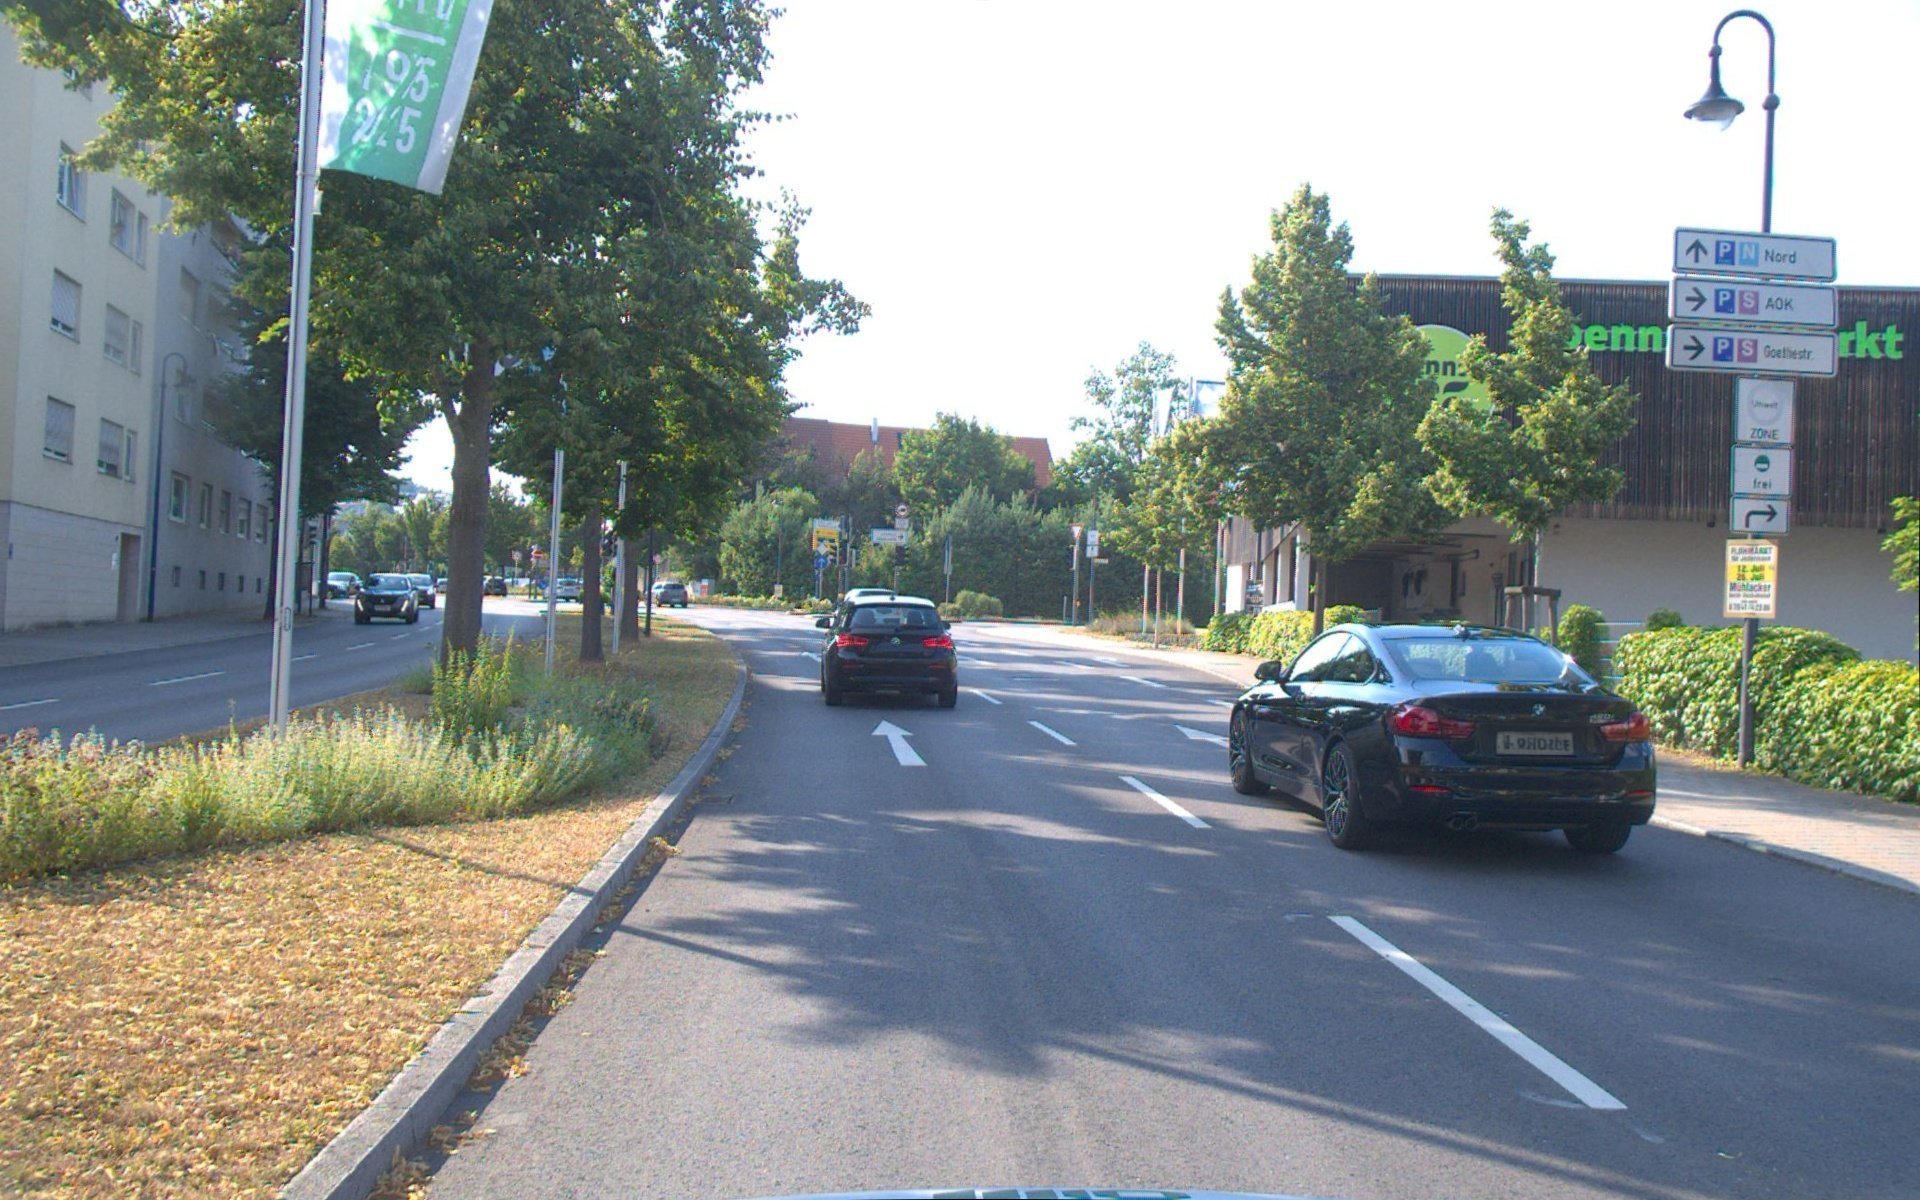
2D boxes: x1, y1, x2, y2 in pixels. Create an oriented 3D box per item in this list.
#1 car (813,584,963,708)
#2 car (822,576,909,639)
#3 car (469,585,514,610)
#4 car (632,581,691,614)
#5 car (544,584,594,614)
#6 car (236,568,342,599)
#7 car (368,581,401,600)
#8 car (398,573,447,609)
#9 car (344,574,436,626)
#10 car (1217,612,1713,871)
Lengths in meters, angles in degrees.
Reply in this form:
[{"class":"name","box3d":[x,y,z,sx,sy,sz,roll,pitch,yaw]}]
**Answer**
[{"class":"car","box3d":[-1.094,0.583,23.076,1.688,1.516,4.345,2,0,-8]},{"class":"car","box3d":[-2.926,0.210,50.338,1.892,1.800,4.439,1,0,-13]},{"class":"car","box3d":[-35.190,-0.204,124.258,2.194,1.800,4.408,1,0,-31]},{"class":"car","box3d":[-17.616,-0.170,97.498,2.230,1.703,4.552,4,0,-25]},{"class":"car","box3d":[-25.649,-0.070,108.478,2.230,1.703,4.552,4,0,-25]},{"class":"car","box3d":[-33.719,-0.842,83.209,4.784,1.462,1.907,1,0,-19]},{"class":"car","box3d":[-54.991,-0.911,157.938,2.194,1.800,4.408,1,0,-31]},{"class":"car","box3d":[-24.124,-0.402,74.284,1.577,1.512,3.774,1,0,-10]},{"class":"car","box3d":[-18.342,-0.009,53.427,1.904,1.512,4.317,4,0,-8]},{"class":"car","box3d":[3.150,0.803,11.355,1.882,1.388,4.350,1,0,-3]}]
